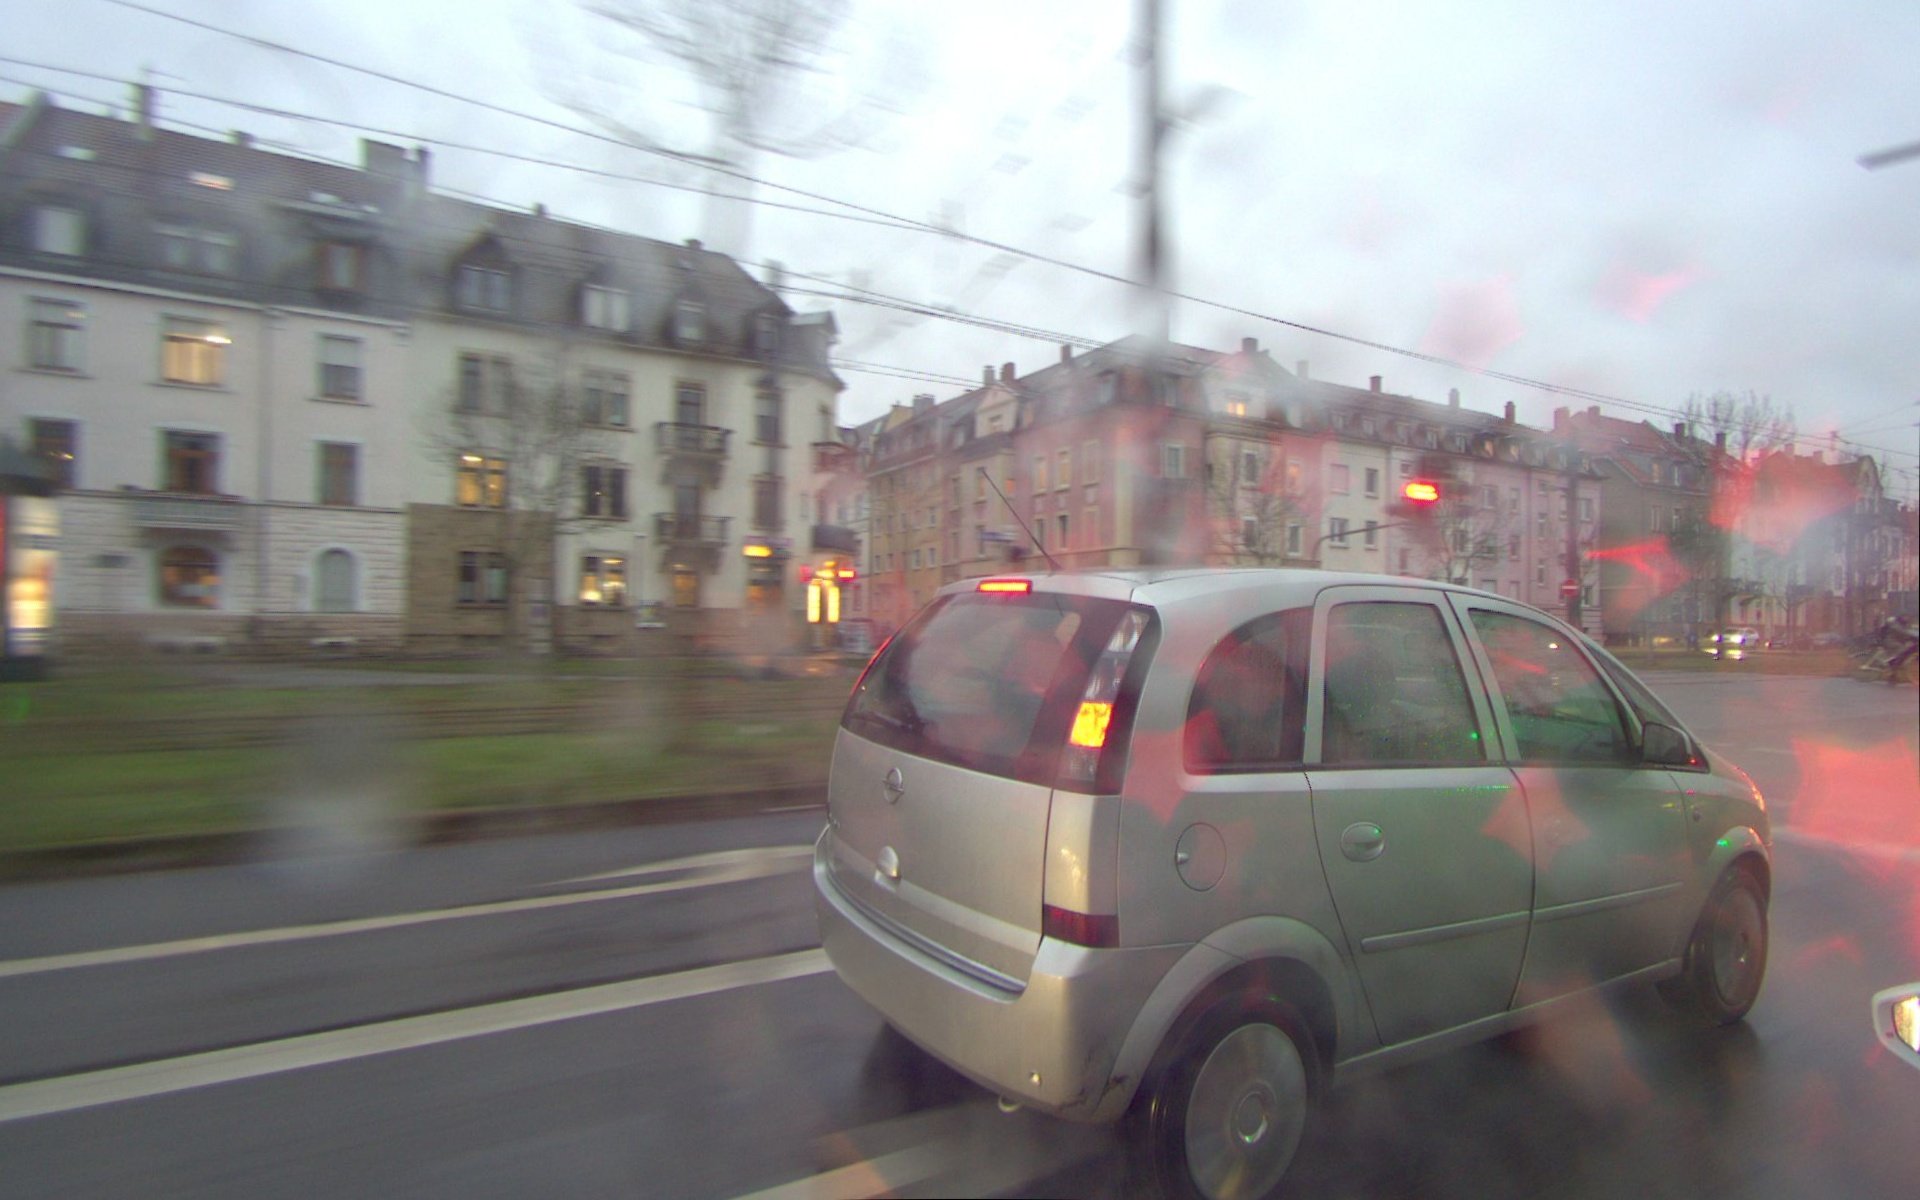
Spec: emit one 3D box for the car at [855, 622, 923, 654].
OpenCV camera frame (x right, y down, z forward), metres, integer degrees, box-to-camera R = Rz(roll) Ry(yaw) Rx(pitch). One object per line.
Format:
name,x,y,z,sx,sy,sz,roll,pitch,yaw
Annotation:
car,-3.499,1.818,48.816,1.773,1.505,3.968,1,-2,-30

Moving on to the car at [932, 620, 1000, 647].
car,0.309,1.884,56.869,1.980,1.439,3.961,1,-1,-35

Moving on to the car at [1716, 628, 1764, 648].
car,59.576,2.883,76.744,3.516,1.520,1.767,1,-2,-31

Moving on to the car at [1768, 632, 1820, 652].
car,59.778,3.017,71.977,3.516,1.372,1.767,1,-2,-31

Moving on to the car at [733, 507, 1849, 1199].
car,1.385,0.677,3.764,4.007,1.621,1.800,2,-1,-31

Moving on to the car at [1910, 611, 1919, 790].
car,10.778,0.954,9.401,4.005,1.621,1.664,1,-1,-30
